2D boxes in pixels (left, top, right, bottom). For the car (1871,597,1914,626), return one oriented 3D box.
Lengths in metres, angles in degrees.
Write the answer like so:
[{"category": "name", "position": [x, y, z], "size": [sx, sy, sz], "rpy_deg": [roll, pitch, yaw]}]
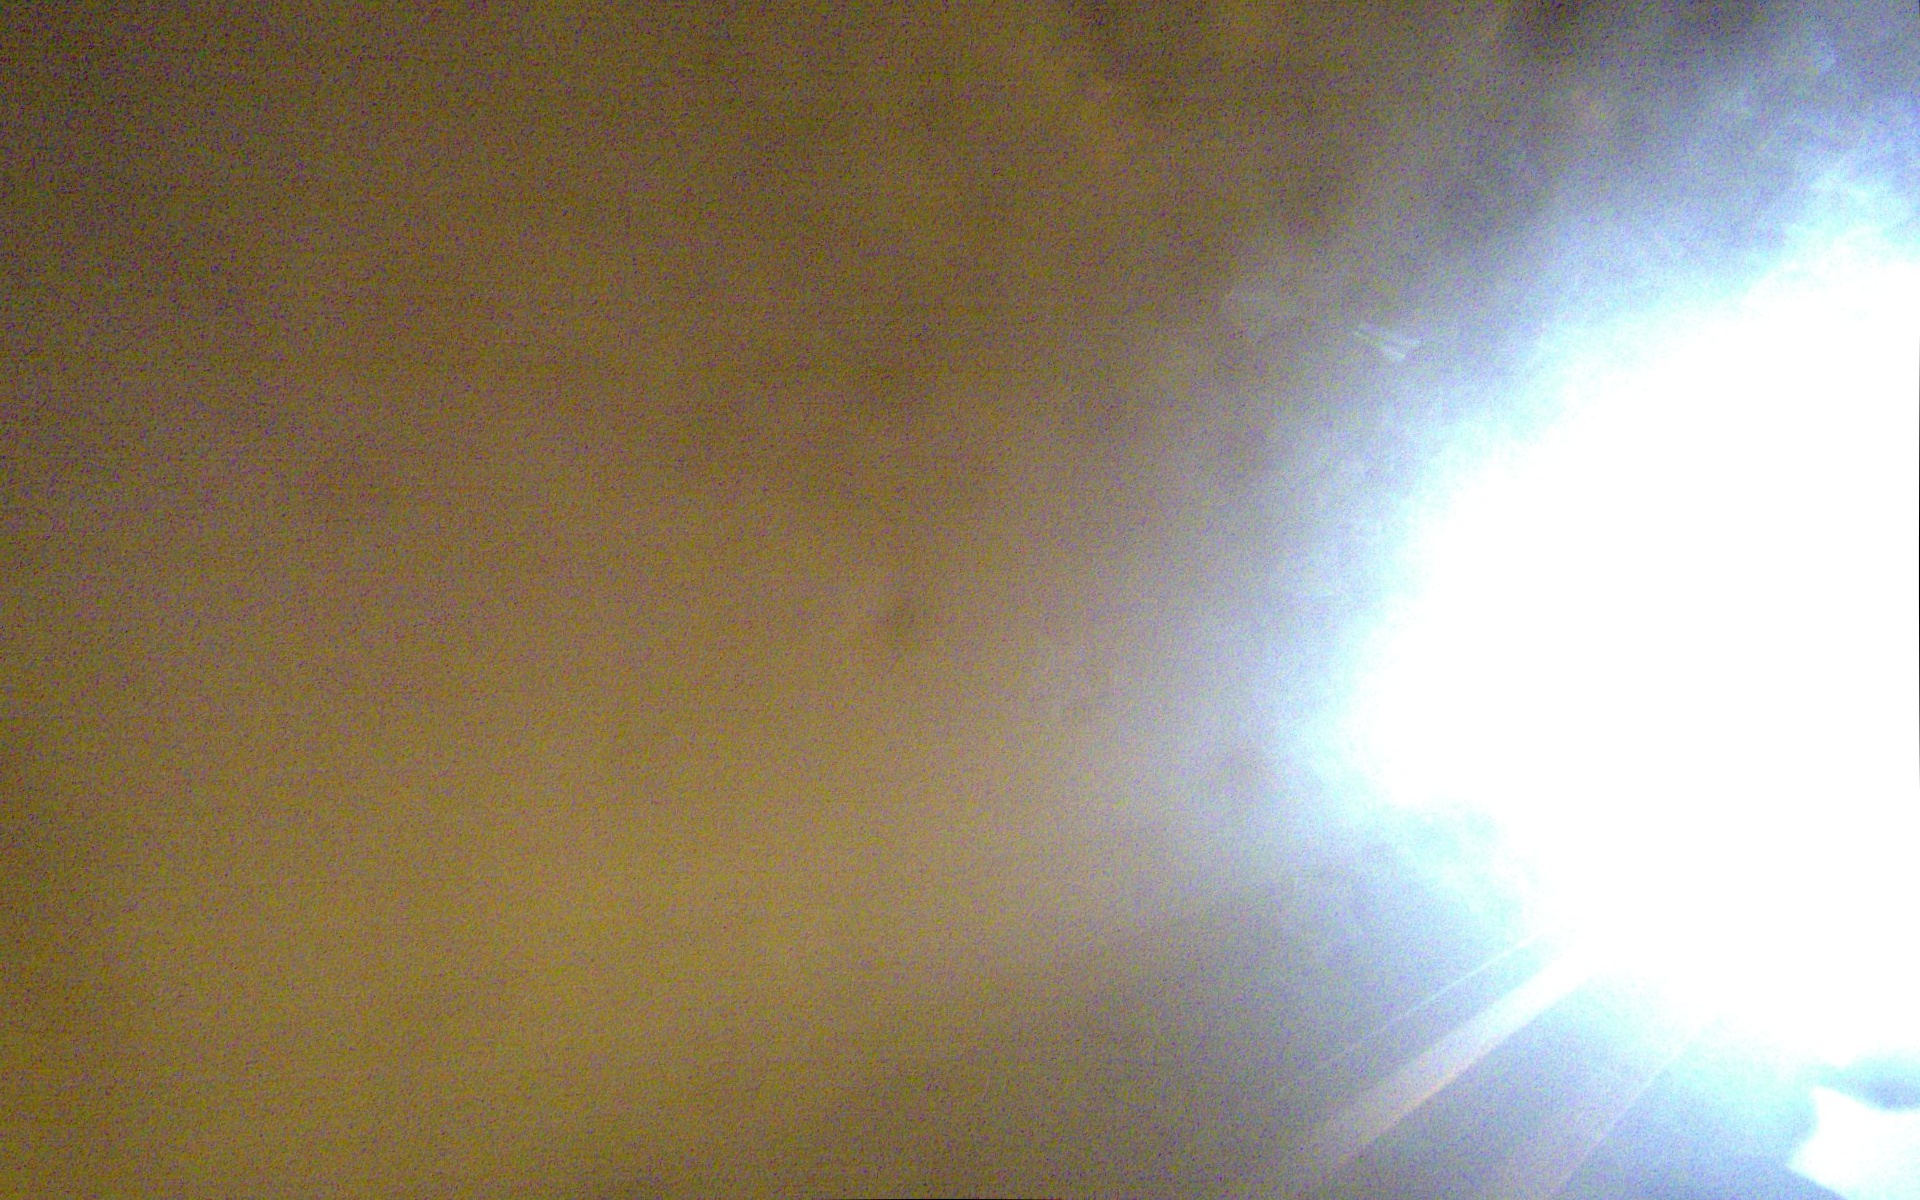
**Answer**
[{"category": "car", "position": [69.186, 0.839, 75.133], "size": [1.889, 2.039, 3.947], "rpy_deg": [1, 1, 36]}]
